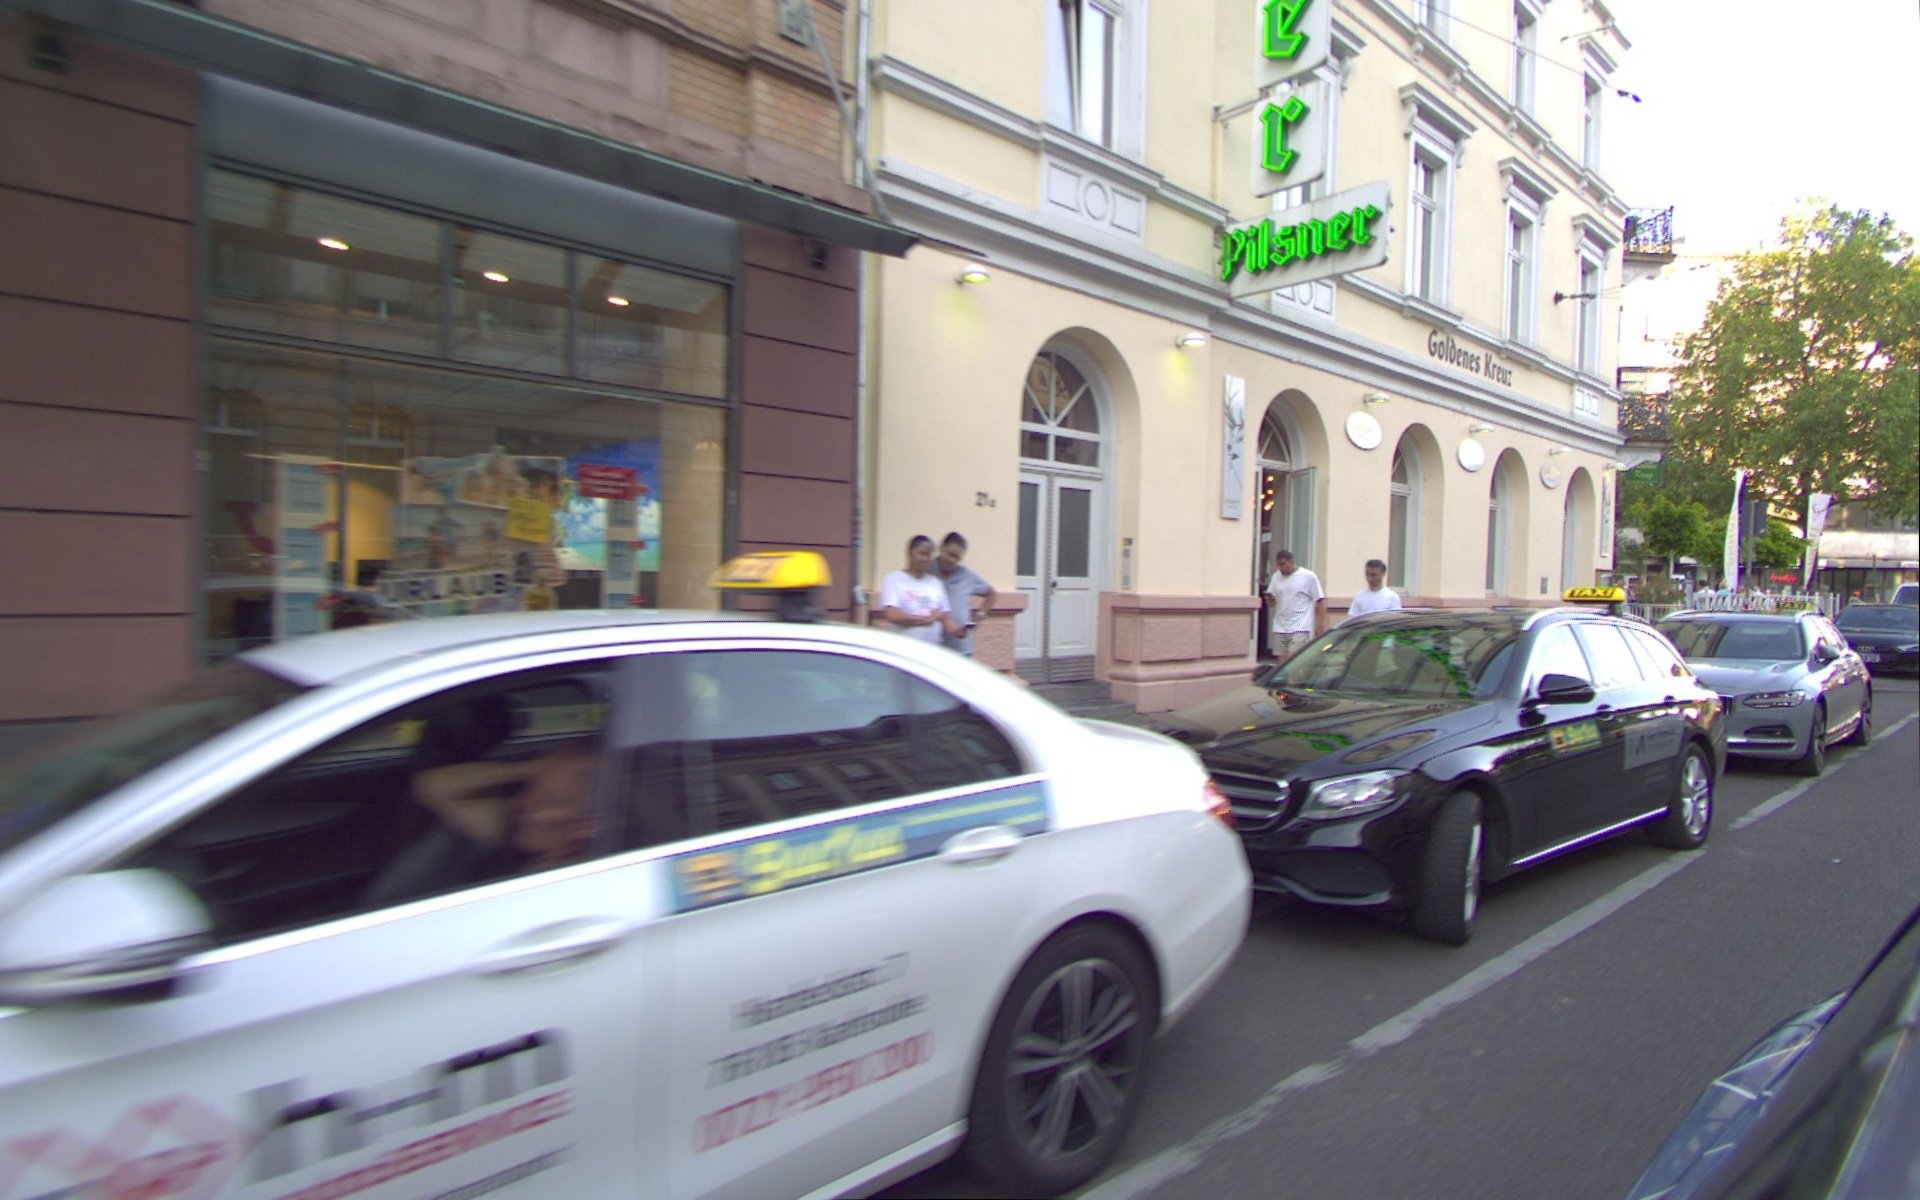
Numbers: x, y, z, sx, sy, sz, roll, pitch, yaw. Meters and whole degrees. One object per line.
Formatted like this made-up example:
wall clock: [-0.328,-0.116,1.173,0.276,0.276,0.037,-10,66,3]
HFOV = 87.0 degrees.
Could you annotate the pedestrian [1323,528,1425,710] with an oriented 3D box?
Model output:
pedestrian: [4.048,0.171,9.916,0.476,1.709,0.623,2,4,-25]

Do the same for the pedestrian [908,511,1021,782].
pedestrian: [0.033,0.297,7.044,0.653,1.789,0.373,0,3,-45]

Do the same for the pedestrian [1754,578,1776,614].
pedestrian: [30.285,-0.160,38.078,0.482,1.350,0.531,1,1,-41]

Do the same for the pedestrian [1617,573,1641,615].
pedestrian: [21.844,-0.209,33.045,0.482,1.350,0.531,1,1,-41]

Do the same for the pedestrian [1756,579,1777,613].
pedestrian: [31.090,-0.152,39.001,0.482,1.313,0.531,1,1,-41]

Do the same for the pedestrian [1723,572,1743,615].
pedestrian: [28.629,-0.243,37.480,0.523,1.578,0.490,1,1,-41]

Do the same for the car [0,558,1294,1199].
car: [-1.330,0.718,2.199,4.781,1.530,1.735,-1,0,-42]

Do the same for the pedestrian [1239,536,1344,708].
pedestrian: [3.503,0.209,10.719,0.542,1.709,0.761,0,5,-41]

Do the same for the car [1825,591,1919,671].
car: [19.261,0.574,20.715,4.469,1.407,1.700,-1,3,-41]

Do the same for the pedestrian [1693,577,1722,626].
pedestrian: [20.723,0.035,28.043,0.482,1.312,0.531,1,1,-41]

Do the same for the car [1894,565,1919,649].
car: [26.332,0.184,26.735,5.124,2.093,1.856,0,2,-41]

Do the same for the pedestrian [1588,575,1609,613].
pedestrian: [23.386,-0.220,37.068,0.523,1.350,0.490,1,1,-41]

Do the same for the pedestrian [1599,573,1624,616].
pedestrian: [20.772,-0.179,32.246,0.482,1.350,0.531,1,1,-41]

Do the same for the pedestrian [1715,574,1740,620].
pedestrian: [22.307,-0.104,29.407,0.528,1.312,0.485,1,1,34]

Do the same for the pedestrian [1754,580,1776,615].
pedestrian: [30.643,-0.082,38.525,0.482,1.313,0.531,1,1,-41]

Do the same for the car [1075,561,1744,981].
car: [2.847,0.639,5.924,4.361,1.610,1.737,-1,0,-38]

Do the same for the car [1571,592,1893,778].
car: [8.123,0.678,10.468,4.612,1.494,1.809,-1,1,-42]

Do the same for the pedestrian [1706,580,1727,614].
pedestrian: [29.318,-0.126,39.216,0.482,1.313,0.531,1,1,-41]

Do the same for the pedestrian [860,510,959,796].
pedestrian: [-0.328,0.322,6.601,0.448,1.789,0.373,0,3,-45]
